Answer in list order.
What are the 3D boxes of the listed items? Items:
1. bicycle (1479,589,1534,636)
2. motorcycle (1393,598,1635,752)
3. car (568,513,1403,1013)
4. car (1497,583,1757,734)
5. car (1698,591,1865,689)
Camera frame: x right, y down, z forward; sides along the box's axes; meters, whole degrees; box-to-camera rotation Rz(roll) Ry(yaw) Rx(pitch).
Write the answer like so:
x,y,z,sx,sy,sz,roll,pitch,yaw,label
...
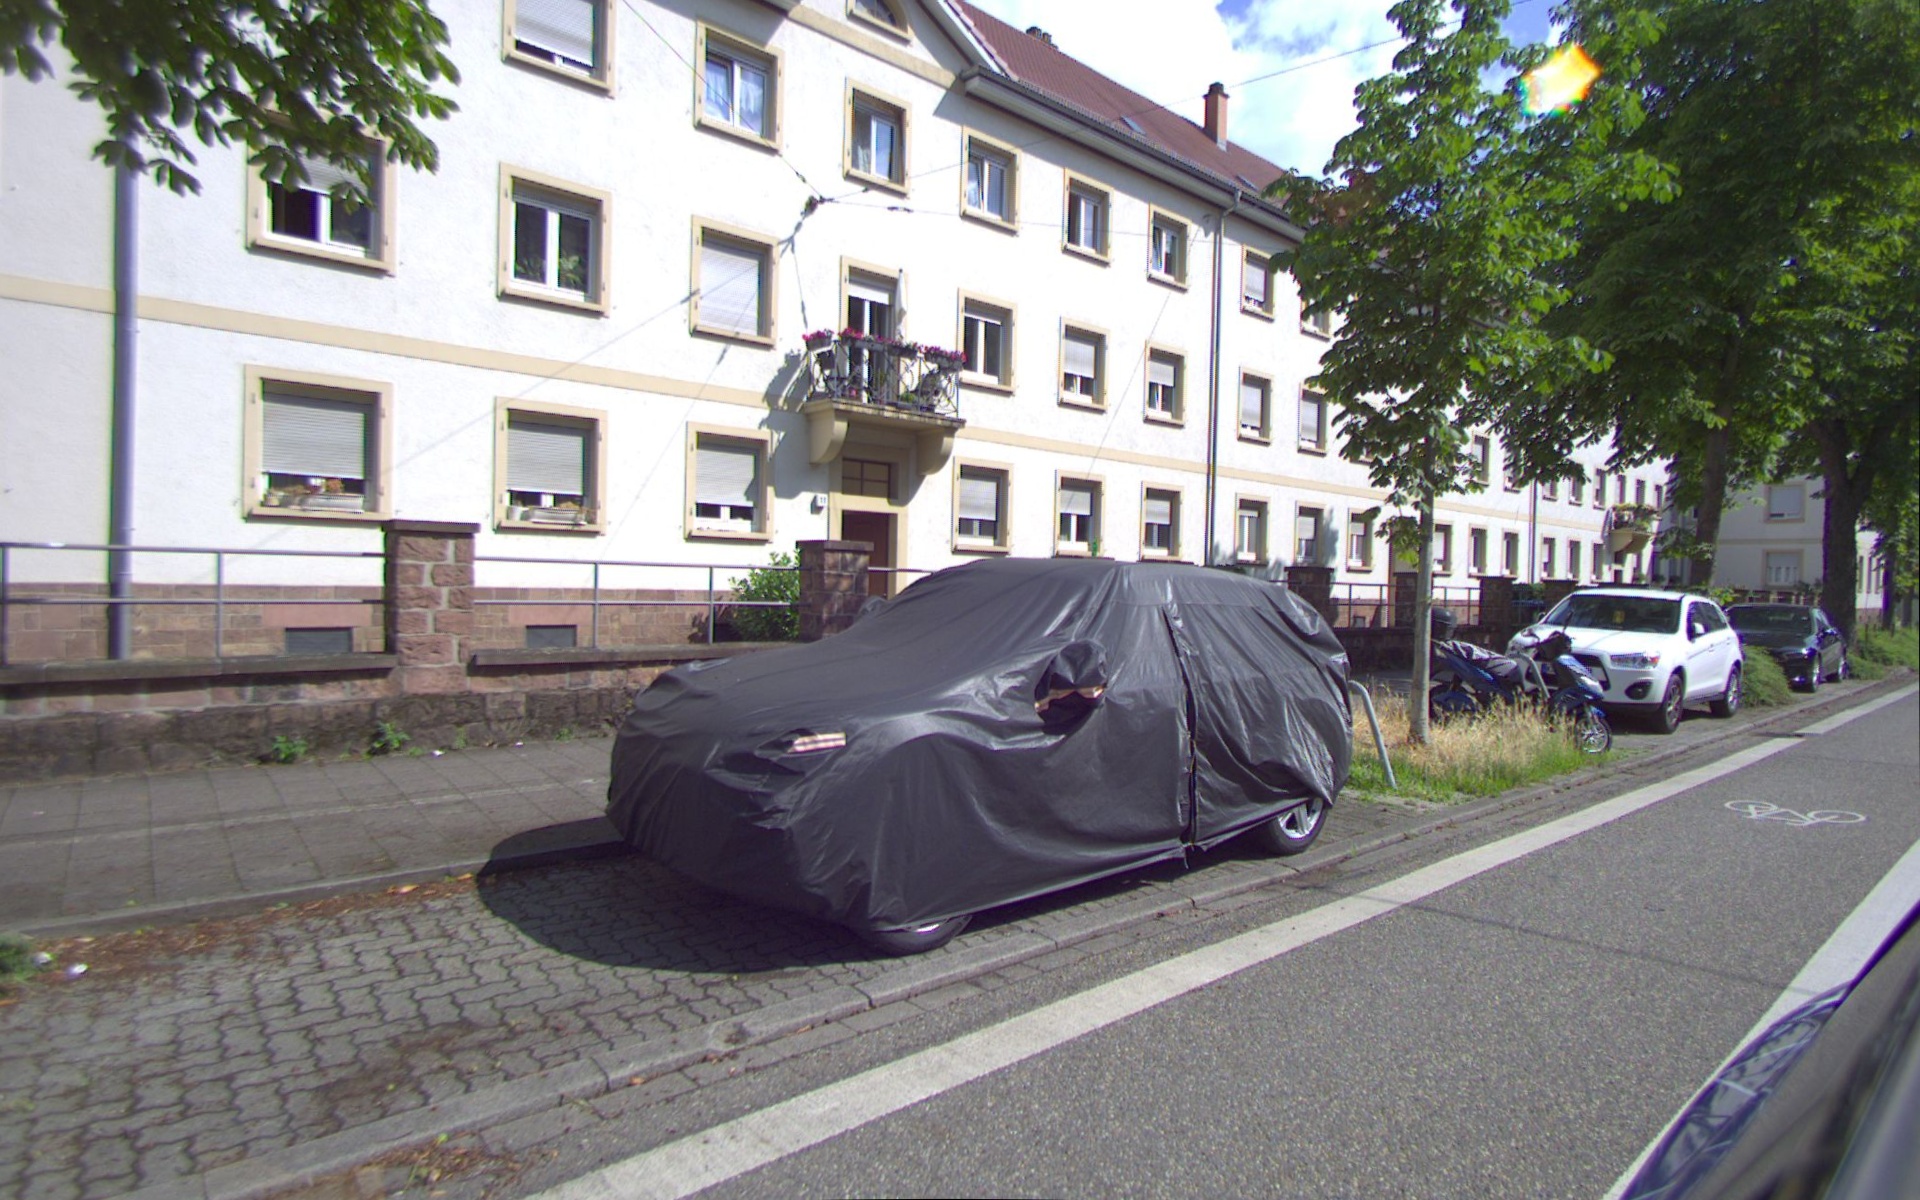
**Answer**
x,y,z,sx,sy,sz,roll,pitch,yaw,label
13.991,0.306,25.890,1.769,1.149,0.626,0,1,-41,bicycle
5.561,0.686,10.260,0.735,1.353,2.008,0,1,-44,motorcycle
0.462,0.513,5.597,4.556,1.673,1.866,0,1,-41,car
8.622,0.612,12.938,4.175,1.600,1.745,0,1,-41,car
14.895,0.634,18.279,4.213,1.540,1.663,0,1,-41,car
